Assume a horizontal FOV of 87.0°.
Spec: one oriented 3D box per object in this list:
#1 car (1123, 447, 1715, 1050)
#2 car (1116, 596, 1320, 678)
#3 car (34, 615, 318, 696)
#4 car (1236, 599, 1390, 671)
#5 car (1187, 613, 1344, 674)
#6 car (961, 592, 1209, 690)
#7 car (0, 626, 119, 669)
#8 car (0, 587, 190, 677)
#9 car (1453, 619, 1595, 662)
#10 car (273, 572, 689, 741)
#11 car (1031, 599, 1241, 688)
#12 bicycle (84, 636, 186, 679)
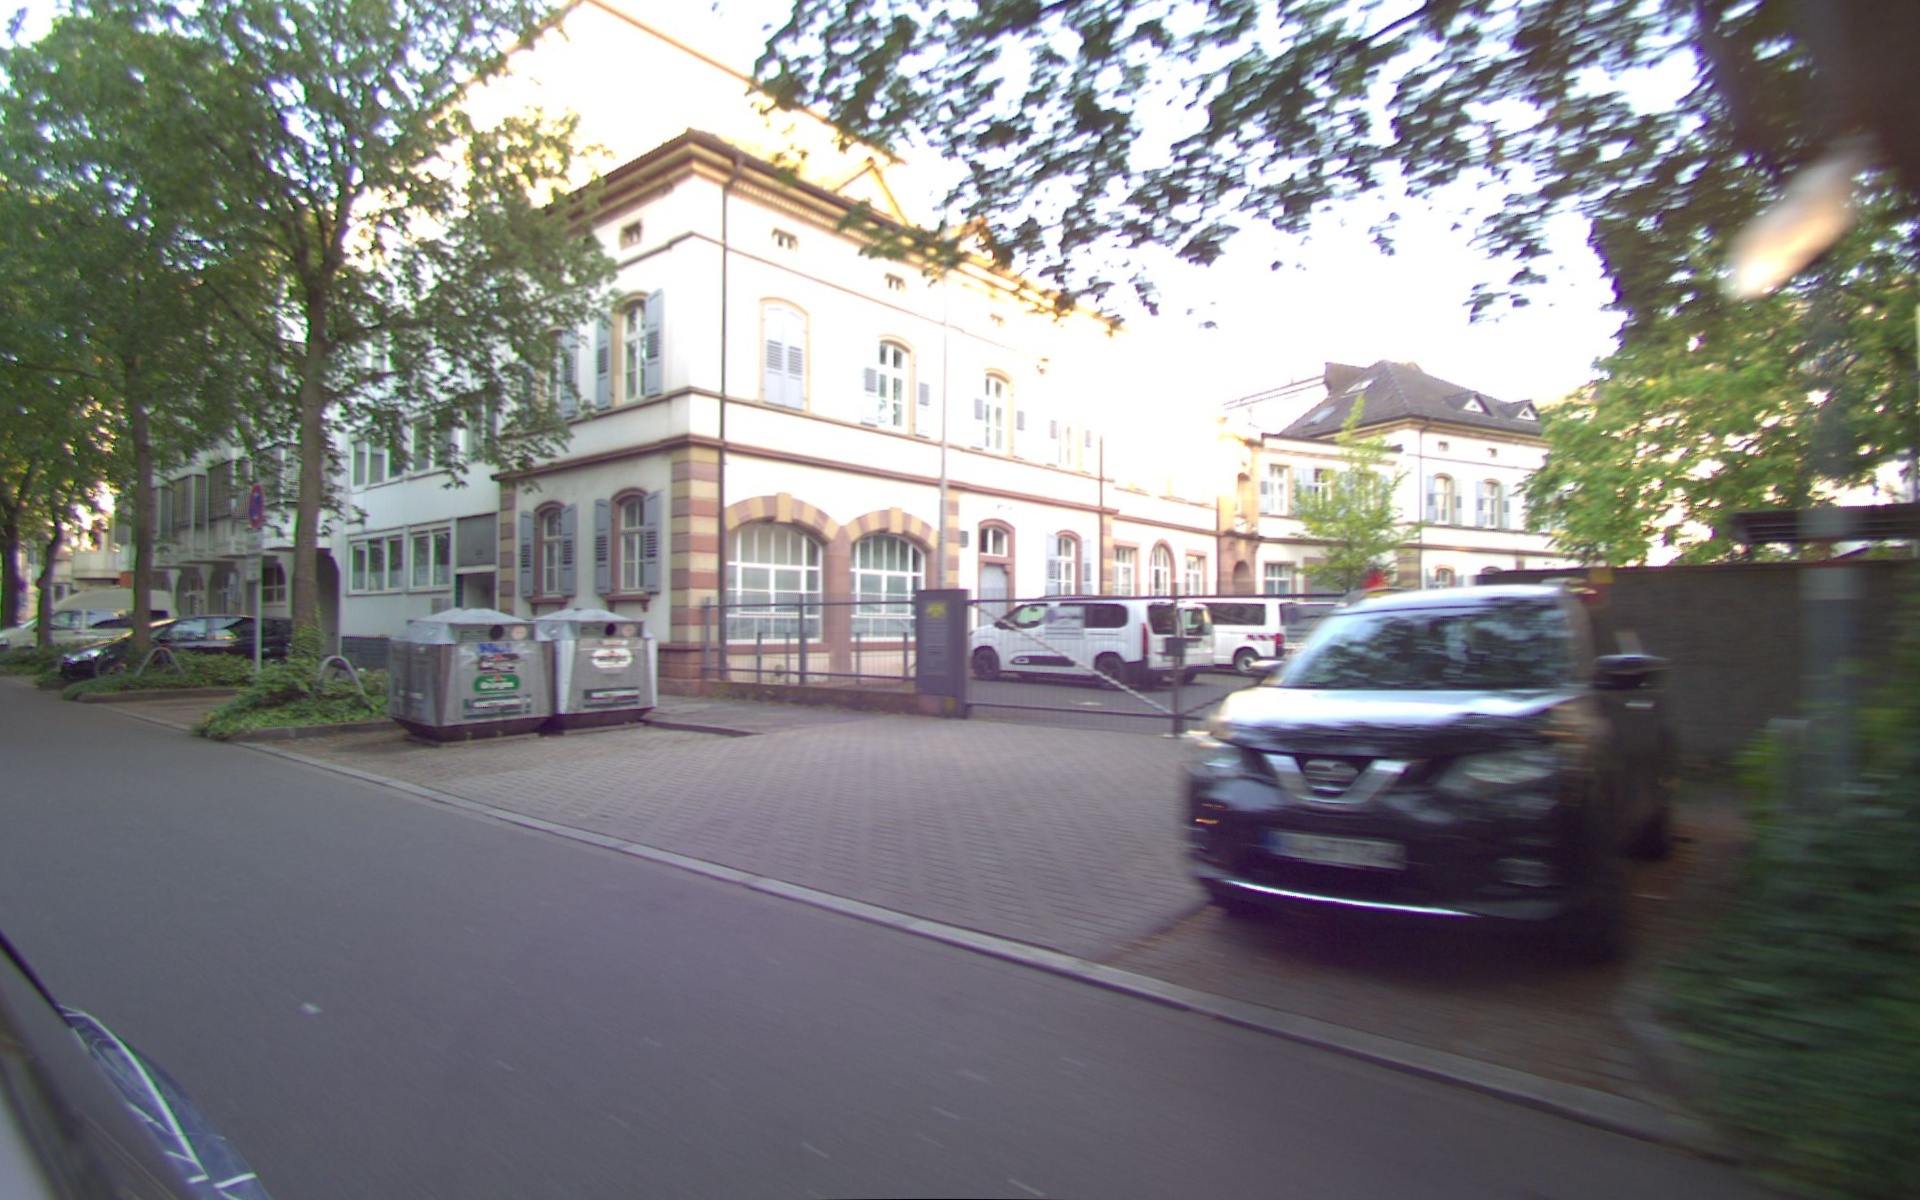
[{"bbox_3d":[2.905,0.528,5.699,1.998,1.970,4.461,-1,-2,39],"label":"car"},{"bbox_3d":[6.620,0.942,26.236,4.681,1.940,2.126,-1,-2,37],"label":"car"},{"bbox_3d":[-17.698,1.179,23.053,2.159,1.634,4.802,-1,-2,41],"label":"car"},{"bbox_3d":[10.666,1.046,30.649,3.994,2.029,1.975,-1,-2,38],"label":"car"},{"bbox_3d":[8.657,1.219,28.846,3.994,1.630,1.565,-1,-2,38],"label":"car"},{"bbox_3d":[2.468,0.804,20.598,4.671,1.771,1.978,-1,-2,37],"label":"car"},{"bbox_3d":[-33.258,1.702,36.603,1.952,1.480,4.125,-2,-2,41],"label":"car"},{"bbox_3d":[-27.076,0.976,31.189,2.119,2.592,4.952,-2,-2,40],"label":"car"},{"bbox_3d":[21.089,1.503,38.064,1.965,1.517,4.307,0,-2,-25],"label":"car"},{"bbox_3d":[-5.960,0.641,13.091,1.998,1.785,4.461,-1,-2,39],"label":"car"},{"bbox_3d":[3.940,0.942,22.977,4.341,1.835,1.879,-1,-2,37],"label":"car"},{"bbox_3d":[-16.877,1.157,20.725,0.613,0.837,1.535,-2,-2,43],"label":"bicycle"}]
